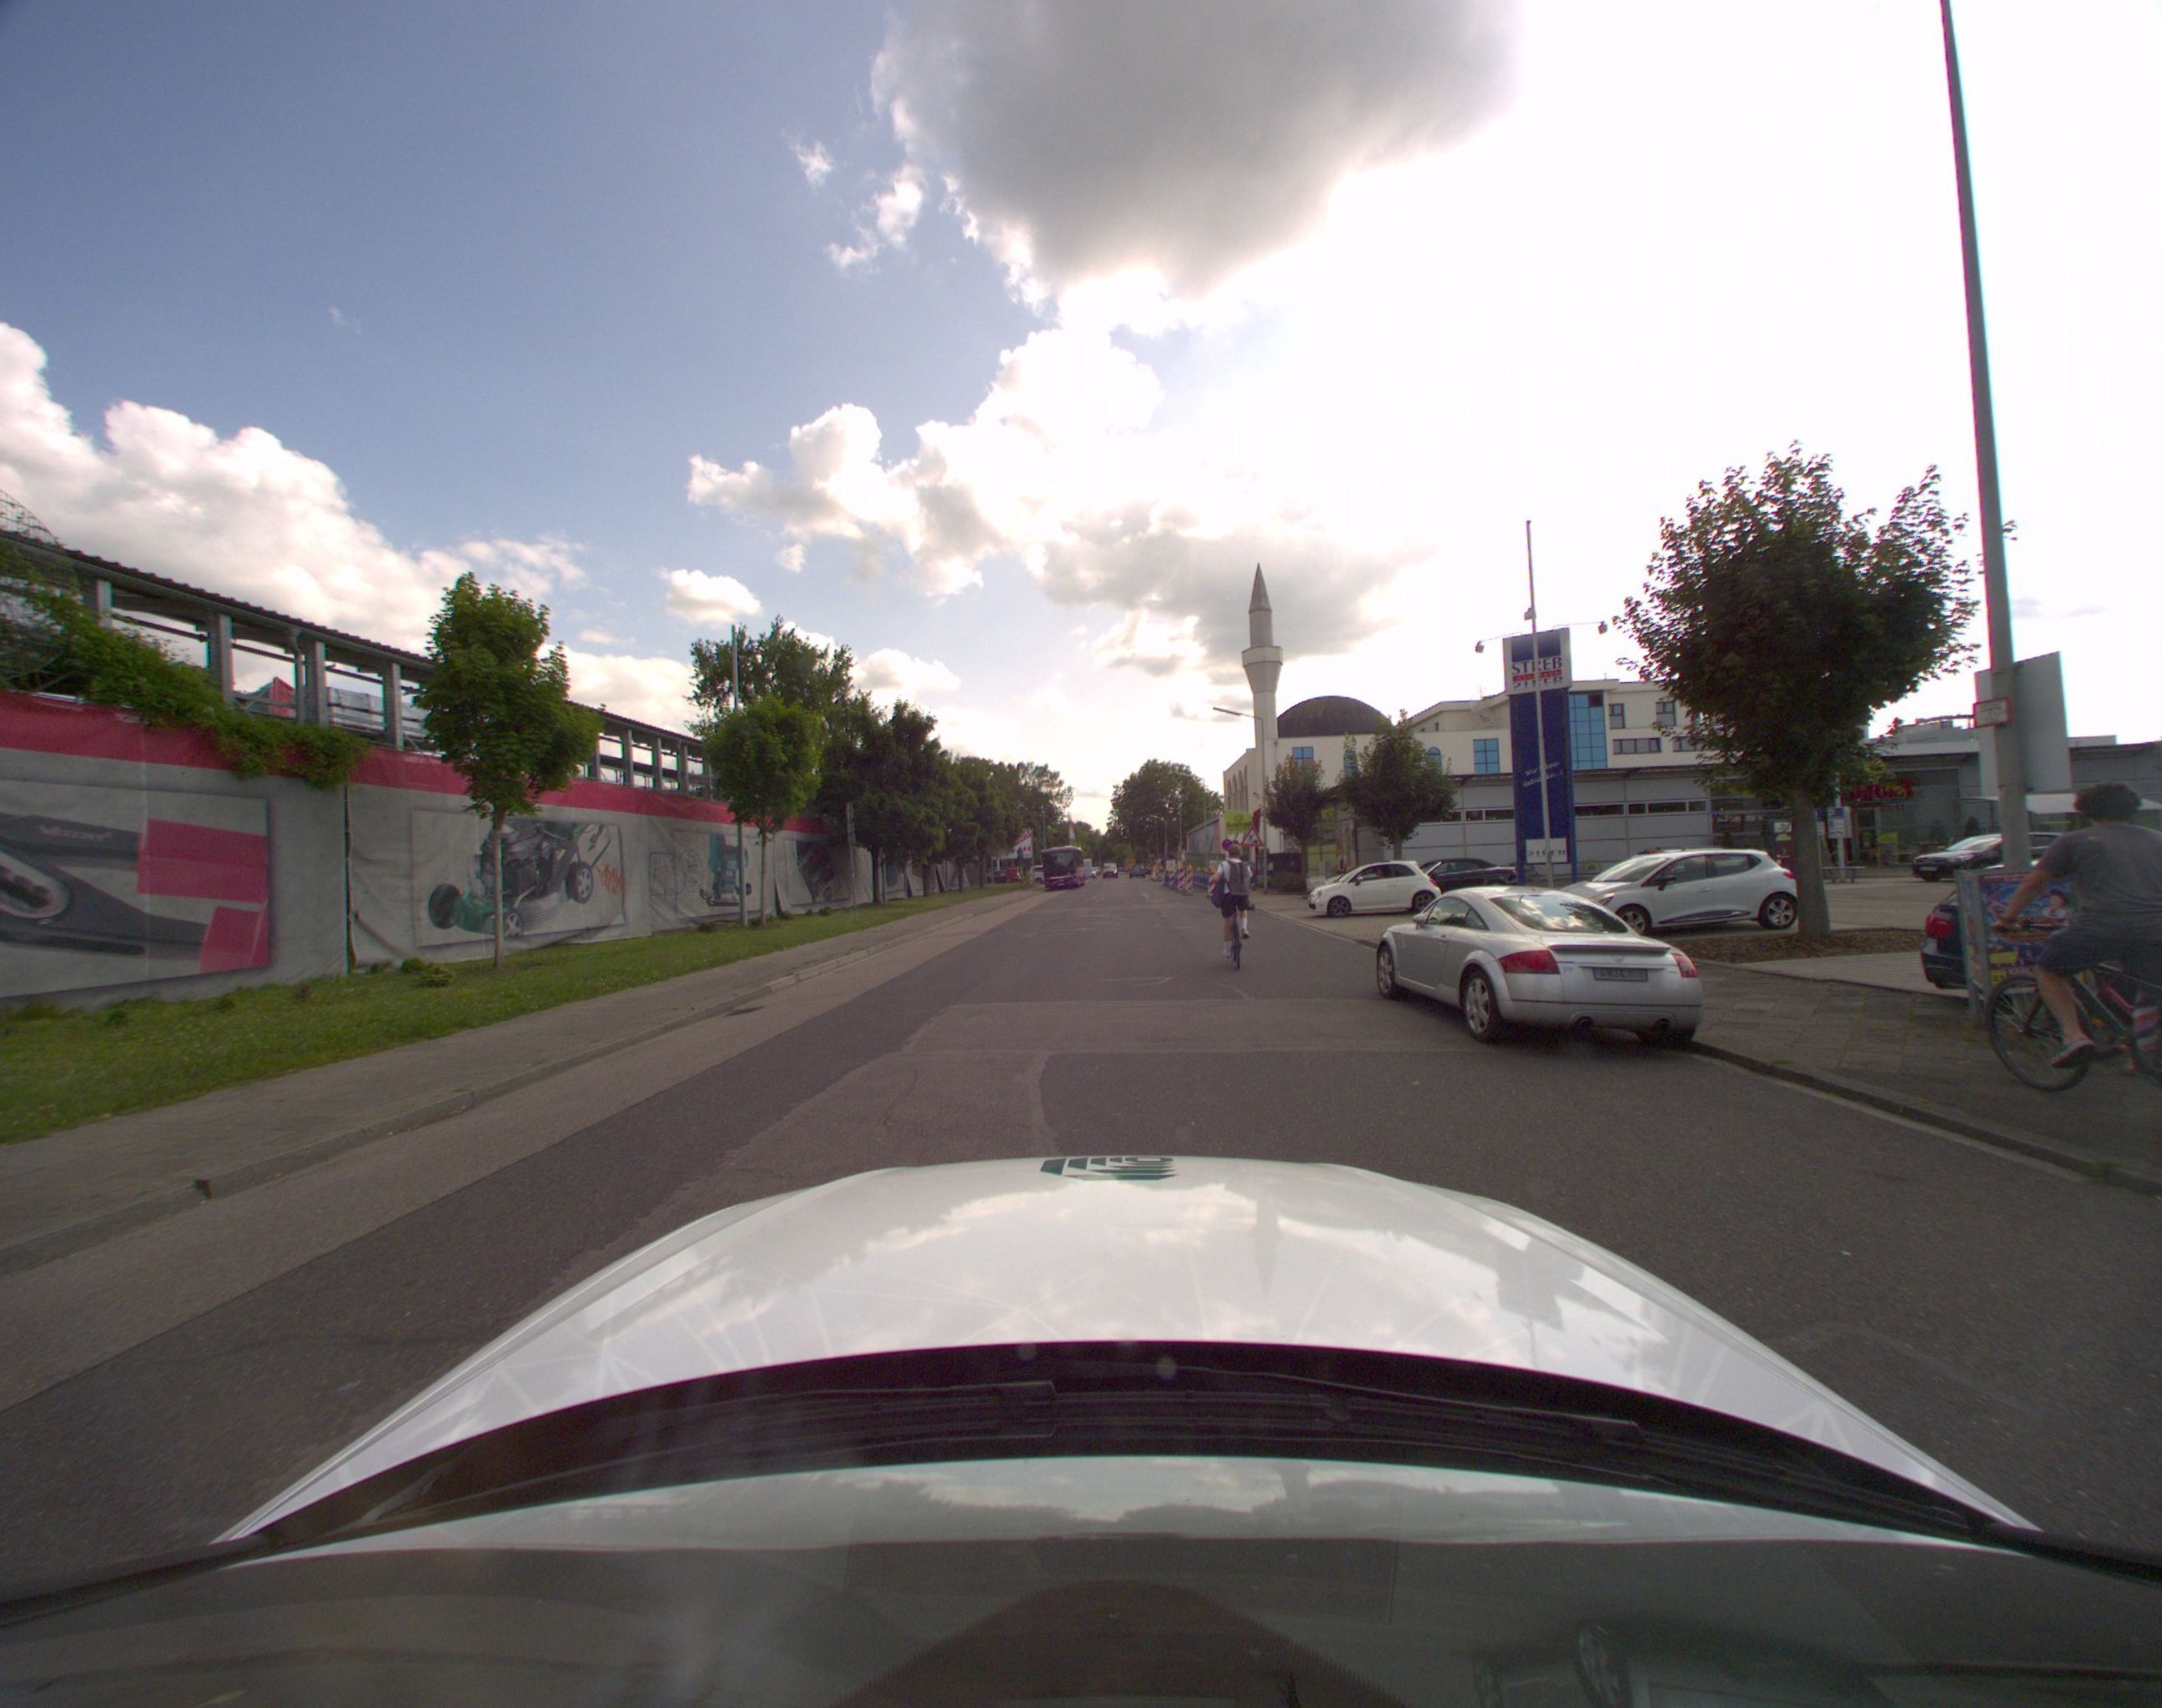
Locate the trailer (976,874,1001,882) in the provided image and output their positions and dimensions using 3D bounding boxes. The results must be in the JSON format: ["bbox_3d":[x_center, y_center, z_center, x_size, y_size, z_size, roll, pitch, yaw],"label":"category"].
[{"bbox_3d":[-15.388,4.057,135.981,3.795,1.191,1.719,-2,-1,8],"label":"trailer"}]

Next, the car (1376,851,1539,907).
[{"bbox_3d":[11.601,0.765,25.290,4.167,1.430,1.806,-4,-1,-1],"label":"car"}]

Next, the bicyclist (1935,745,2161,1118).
[{"bbox_3d":[5.815,0.387,4.645,0.791,1.910,0.830,-6,-2,5],"label":"bicyclist"}]

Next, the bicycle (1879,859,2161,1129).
[{"bbox_3d":[5.841,0.716,4.591,0.788,1.295,1.885,-6,-2,5],"label":"bicycle"}]

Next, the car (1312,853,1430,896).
[{"bbox_3d":[11.813,0.832,33.358,4.090,1.463,1.989,-4,-1,-1],"label":"car"}]

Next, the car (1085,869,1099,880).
[{"bbox_3d":[1.610,2.971,118.131,1.759,1.479,4.237,-5,-1,2],"label":"car"}]

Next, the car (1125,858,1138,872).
[{"bbox_3d":[10.080,2.198,162.517,2.192,2.578,6.403,-2,-1,0],"label":"car"}]

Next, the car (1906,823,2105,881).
[{"bbox_3d":[27.937,-0.049,24.696,4.036,1.484,1.724,-3,-1,0],"label":"car"}]

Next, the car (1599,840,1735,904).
[{"bbox_3d":[15.719,0.444,21.763,4.408,1.411,1.668,-3,-1,-37],"label":"car"}]

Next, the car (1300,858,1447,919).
[{"bbox_3d":[8.254,0.960,23.221,3.581,1.470,1.692,-4,-1,6],"label":"car"}]

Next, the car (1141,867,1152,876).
[{"bbox_3d":[10.672,2.867,132.679,1.800,1.391,4.593,0,-1,4],"label":"car"}]

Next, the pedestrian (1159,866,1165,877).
[{"bbox_3d":[11.648,2.496,117.011,0.678,1.534,1.131,-2,-2,3],"label":"pedestrian"}]

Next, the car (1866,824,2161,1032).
[{"bbox_3d":[9.668,0.460,6.834,4.293,1.444,1.846,-3,-1,0],"label":"car"}]

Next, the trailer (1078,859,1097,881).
[{"bbox_3d":[0.869,2.099,107.401,2.131,2.783,4.706,-5,-1,3],"label":"trailer"}]

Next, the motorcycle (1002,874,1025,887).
[{"bbox_3d":[-6.990,2.766,84.383,2.212,1.214,0.995,-3,-1,3],"label":"motorcycle"}]

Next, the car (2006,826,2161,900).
[{"bbox_3d":[22.221,0.125,16.843,4.091,1.338,1.794,-3,-1,0],"label":"car"}]

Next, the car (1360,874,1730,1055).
[{"bbox_3d":[4.286,0.907,8.325,1.655,1.340,3.987,1,-1,2],"label":"car"}]

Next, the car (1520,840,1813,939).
[{"bbox_3d":[10.409,0.614,14.692,3.940,1.411,1.796,-4,-1,-1],"label":"car"}]

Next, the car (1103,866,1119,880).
[{"bbox_3d":[3.827,2.385,103.289,1.861,1.630,4.129,-3,-1,2],"label":"car"}]

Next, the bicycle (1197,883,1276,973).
[{"bbox_3d":[2.309,1.065,12.459,0.795,1.180,2.628,-1,-1,2],"label":"bicycle"}]

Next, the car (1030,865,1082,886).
[{"bbox_3d":[-2.575,2.219,83.867,4.972,1.949,1.997,-2,-1,8],"label":"car"}]

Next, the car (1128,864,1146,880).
[{"bbox_3d":[6.709,2.168,98.251,1.955,1.815,4.276,-2,-1,1],"label":"car"}]

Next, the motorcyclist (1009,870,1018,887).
[{"bbox_3d":[-7.011,2.509,84.394,0.671,1.723,0.995,-3,-1,4],"label":"motorcyclist"}]

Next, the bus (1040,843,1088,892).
[{"bbox_3d":[-1.229,1.159,67.681,2.652,3.422,13.227,-6,-1,3],"label":"bus"}]

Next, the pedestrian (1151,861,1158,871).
[{"bbox_3d":[14.262,2.353,158.385,1.002,1.849,1.223,-2,-2,-15],"label":"pedestrian"}]

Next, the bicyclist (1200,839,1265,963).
[{"bbox_3d":[2.292,0.698,12.437,0.803,1.793,1.207,0,-2,2],"label":"bicyclist"}]
